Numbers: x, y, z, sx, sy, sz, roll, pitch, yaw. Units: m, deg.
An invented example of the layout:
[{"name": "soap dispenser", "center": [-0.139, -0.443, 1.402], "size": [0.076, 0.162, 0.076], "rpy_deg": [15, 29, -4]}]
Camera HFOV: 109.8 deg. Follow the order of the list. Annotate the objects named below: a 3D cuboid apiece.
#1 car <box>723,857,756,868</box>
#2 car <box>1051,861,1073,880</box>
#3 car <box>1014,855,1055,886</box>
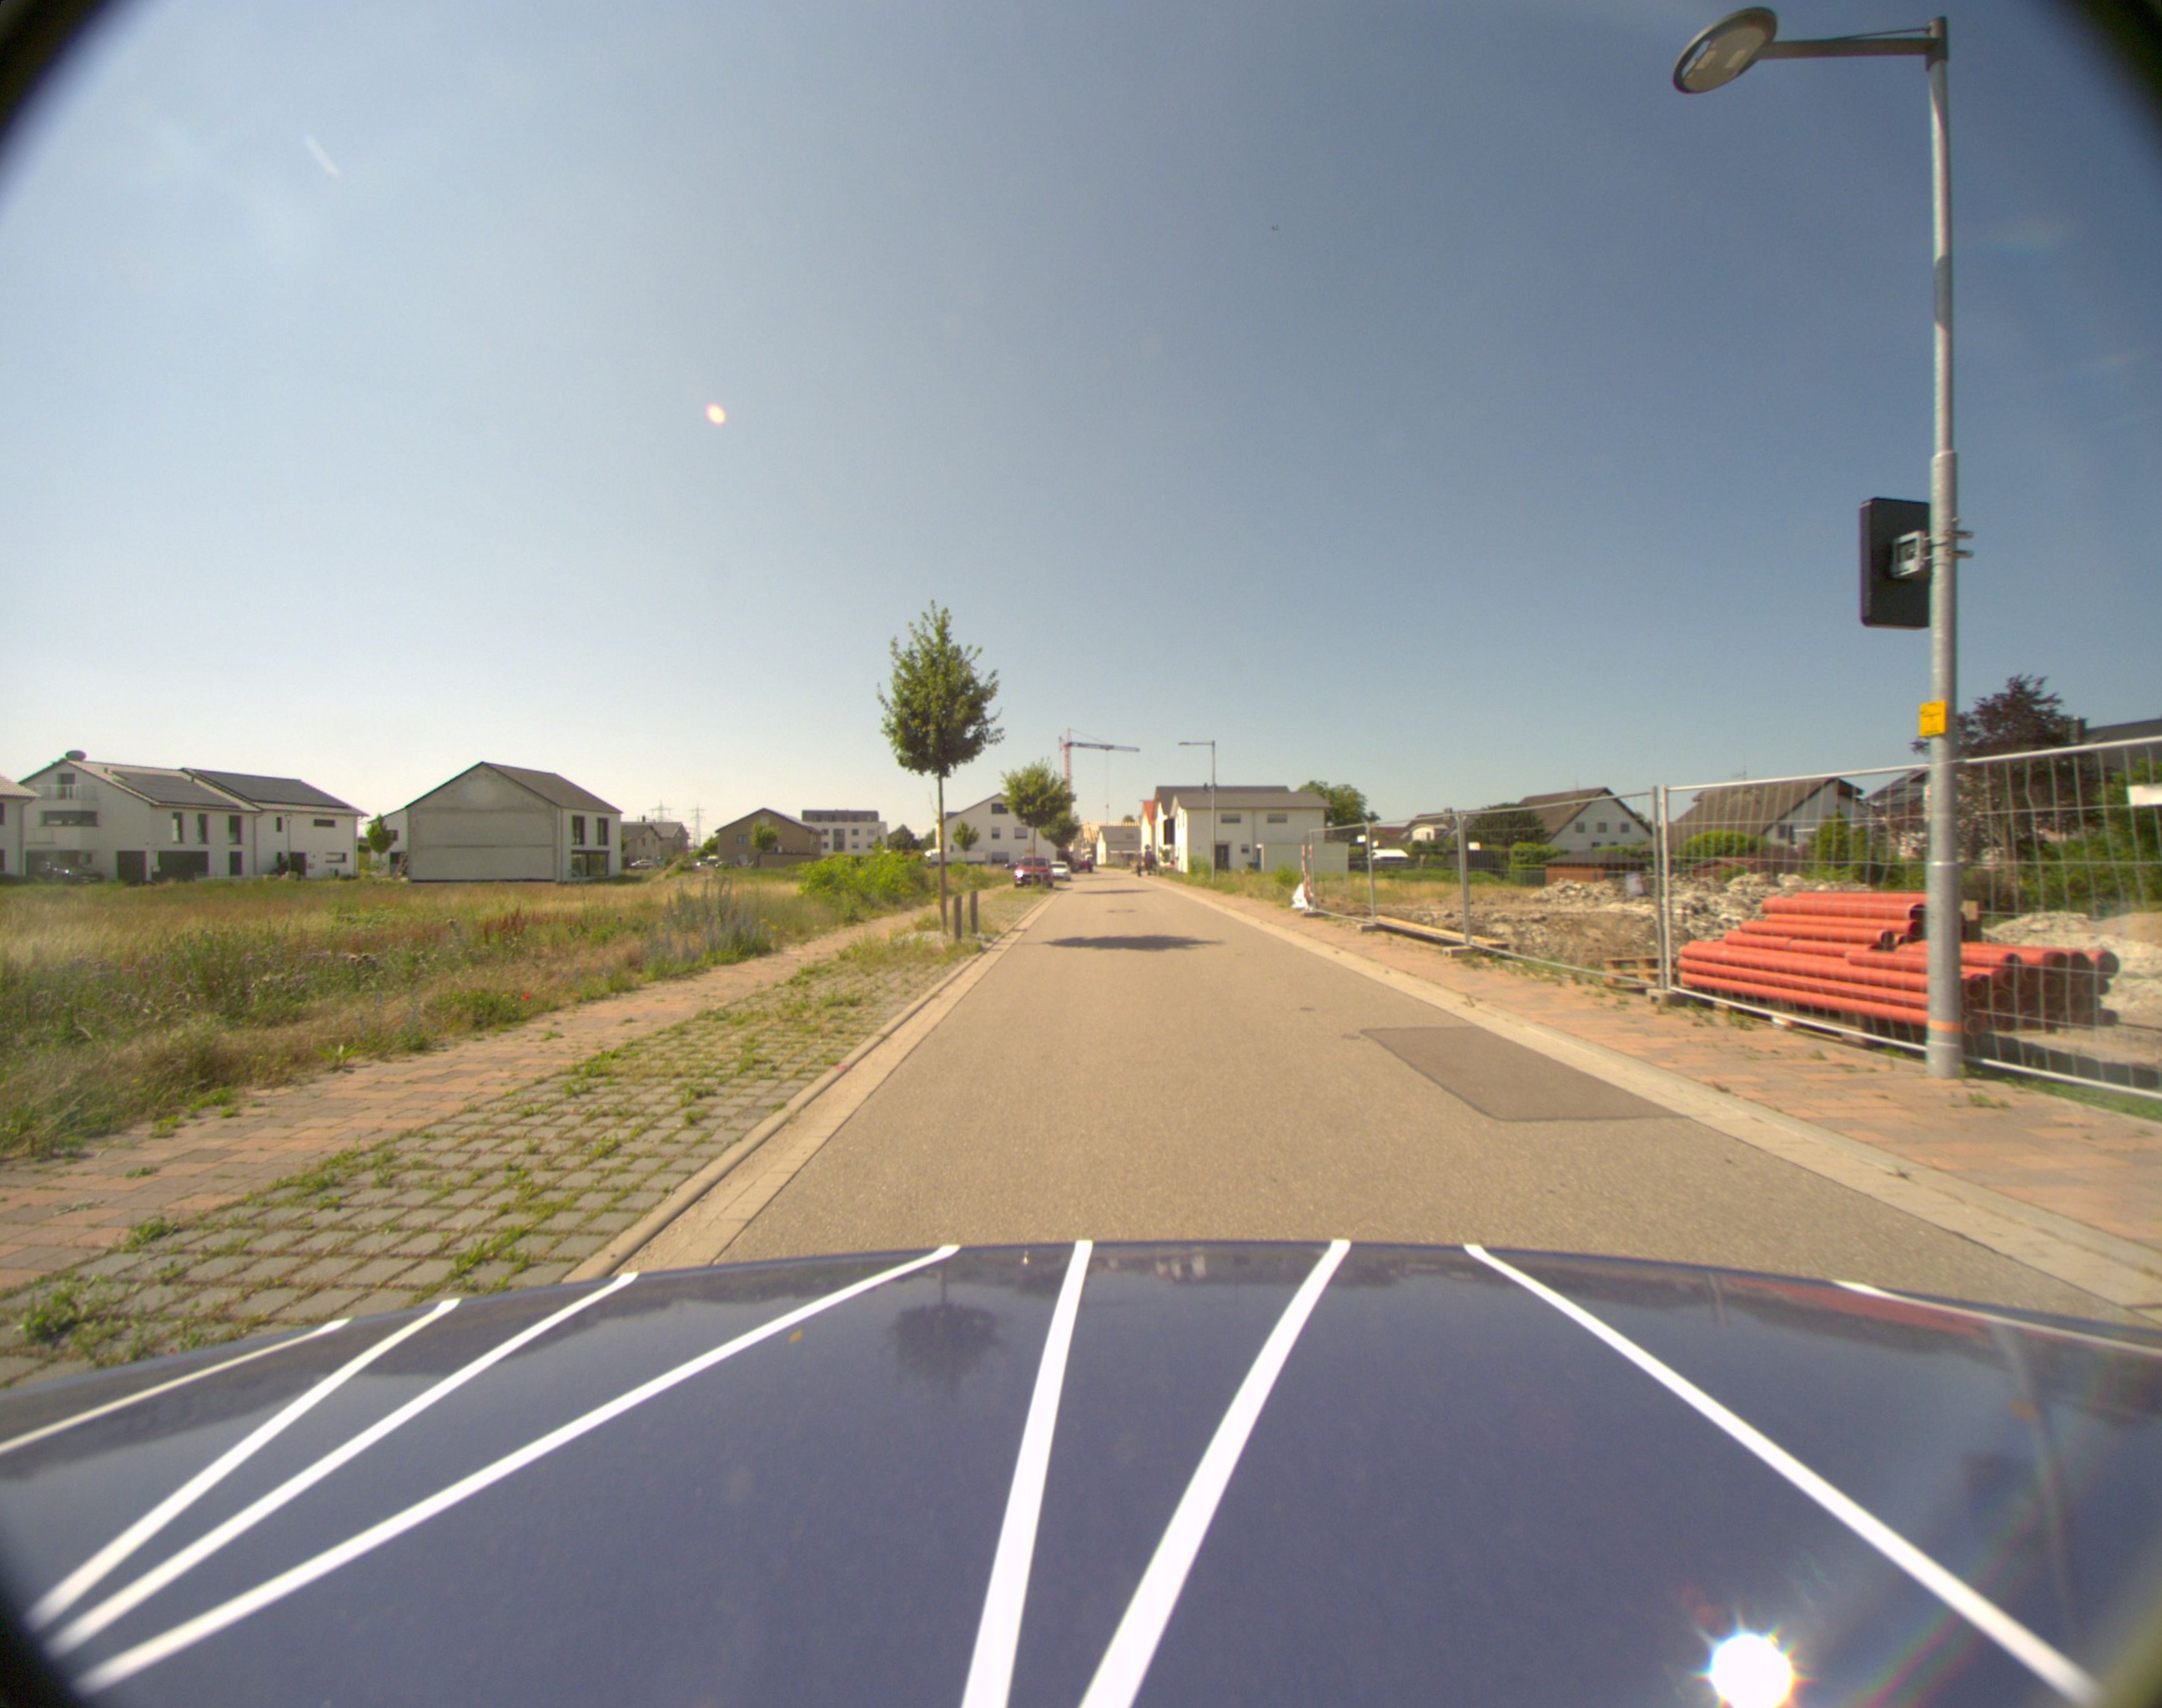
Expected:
[{"name": "car", "center": [-48.918, 1.172, 108.918], "size": [4.000, 1.444, 1.633], "rpy_deg": [-1, 0, -8]}, {"name": "car", "center": [-1.423, 1.216, 58.281], "size": [1.493, 1.389, 3.272], "rpy_deg": [-1, 0, 1]}, {"name": "car", "center": [-2.308, 0.805, 38.879], "size": [1.769, 1.483, 4.000], "rpy_deg": [-1, 0, 1]}]
